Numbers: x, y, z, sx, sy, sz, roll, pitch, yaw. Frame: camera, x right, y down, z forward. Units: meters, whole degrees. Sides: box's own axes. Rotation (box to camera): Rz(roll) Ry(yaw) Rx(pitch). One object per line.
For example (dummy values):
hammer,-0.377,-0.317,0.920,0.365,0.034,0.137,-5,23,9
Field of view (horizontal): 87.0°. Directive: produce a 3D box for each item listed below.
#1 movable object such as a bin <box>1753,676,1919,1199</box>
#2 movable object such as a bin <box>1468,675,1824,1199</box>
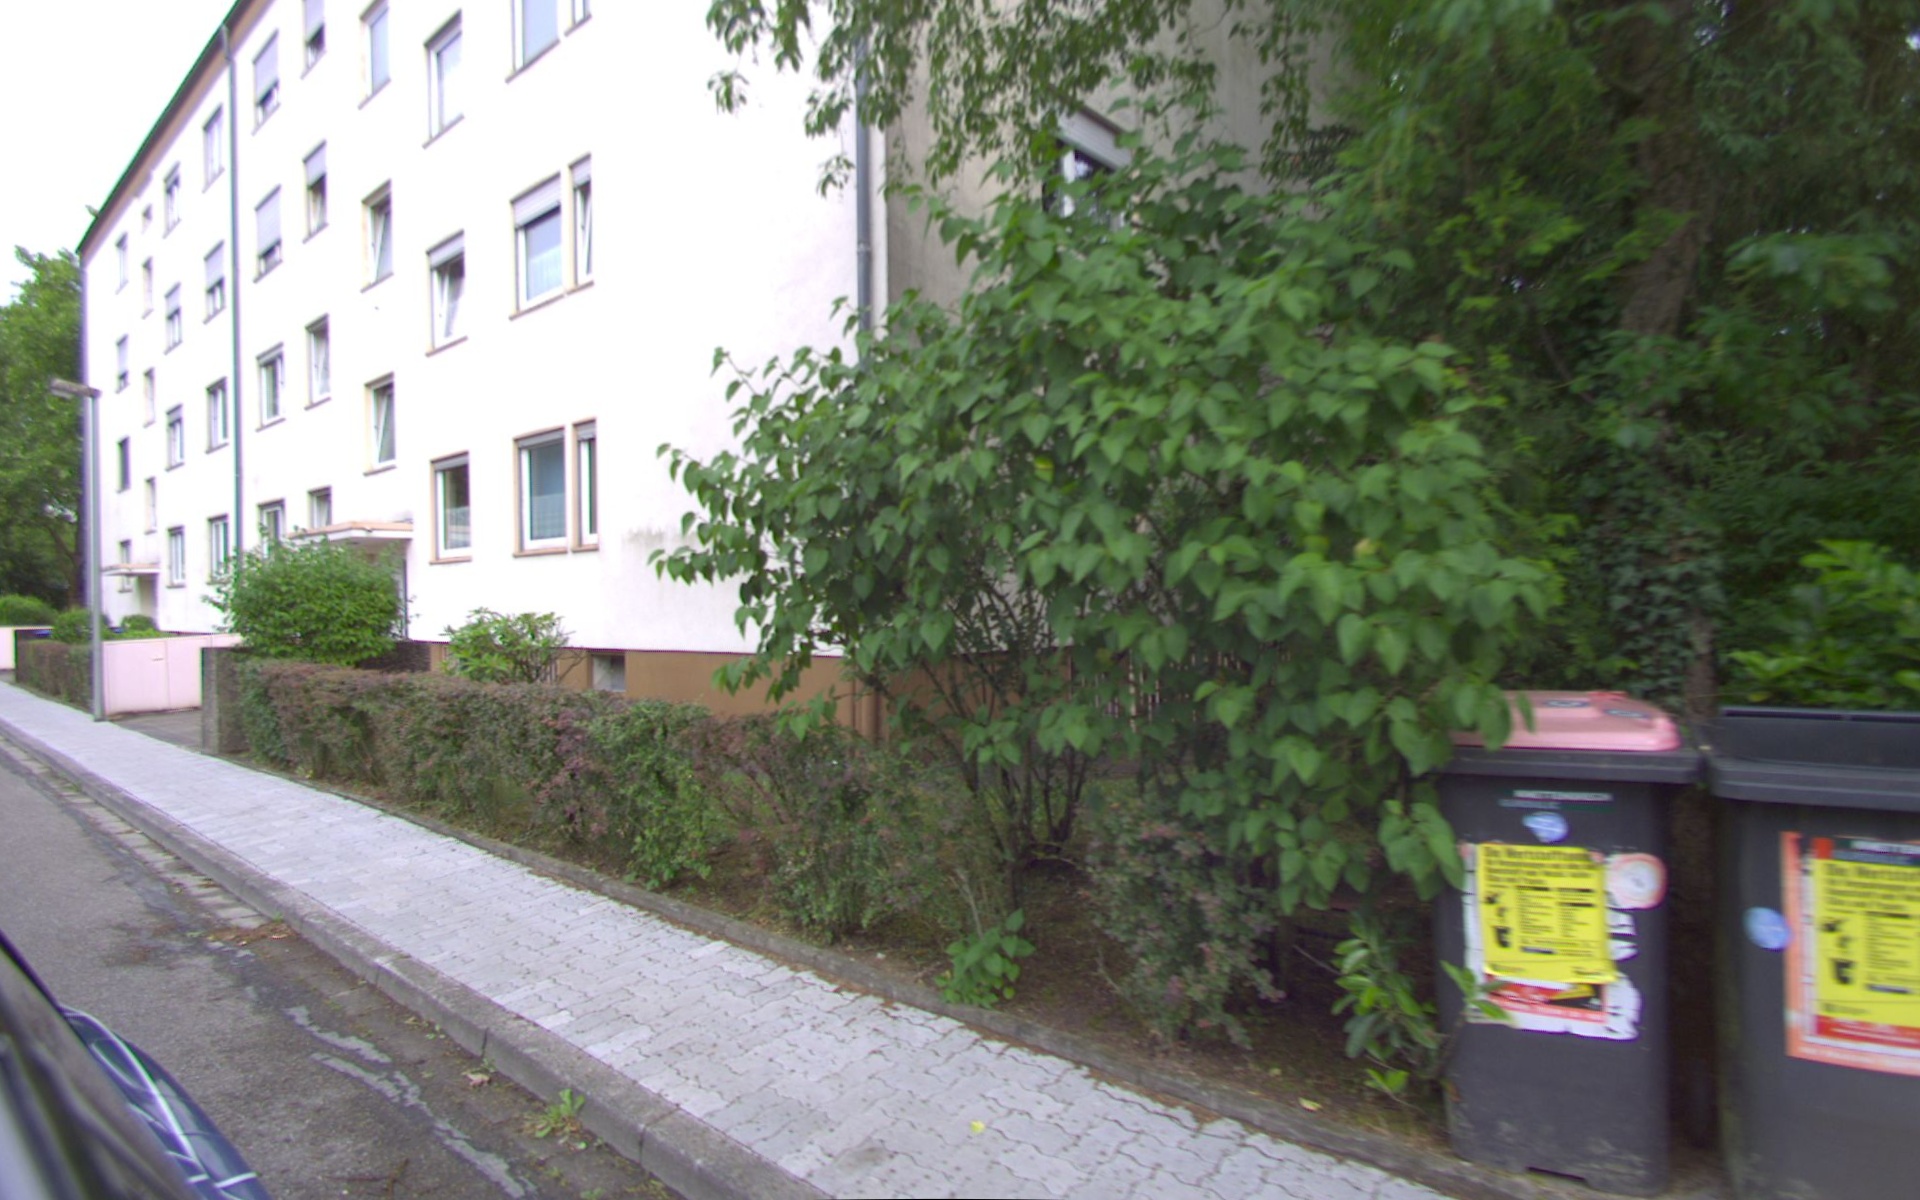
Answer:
movable object such as a bin,1.967,0.675,1.937,0.534,1.030,0.592,-1,-3,22
movable object such as a bin,1.493,0.700,2.305,0.534,1.030,0.592,-1,-3,22
